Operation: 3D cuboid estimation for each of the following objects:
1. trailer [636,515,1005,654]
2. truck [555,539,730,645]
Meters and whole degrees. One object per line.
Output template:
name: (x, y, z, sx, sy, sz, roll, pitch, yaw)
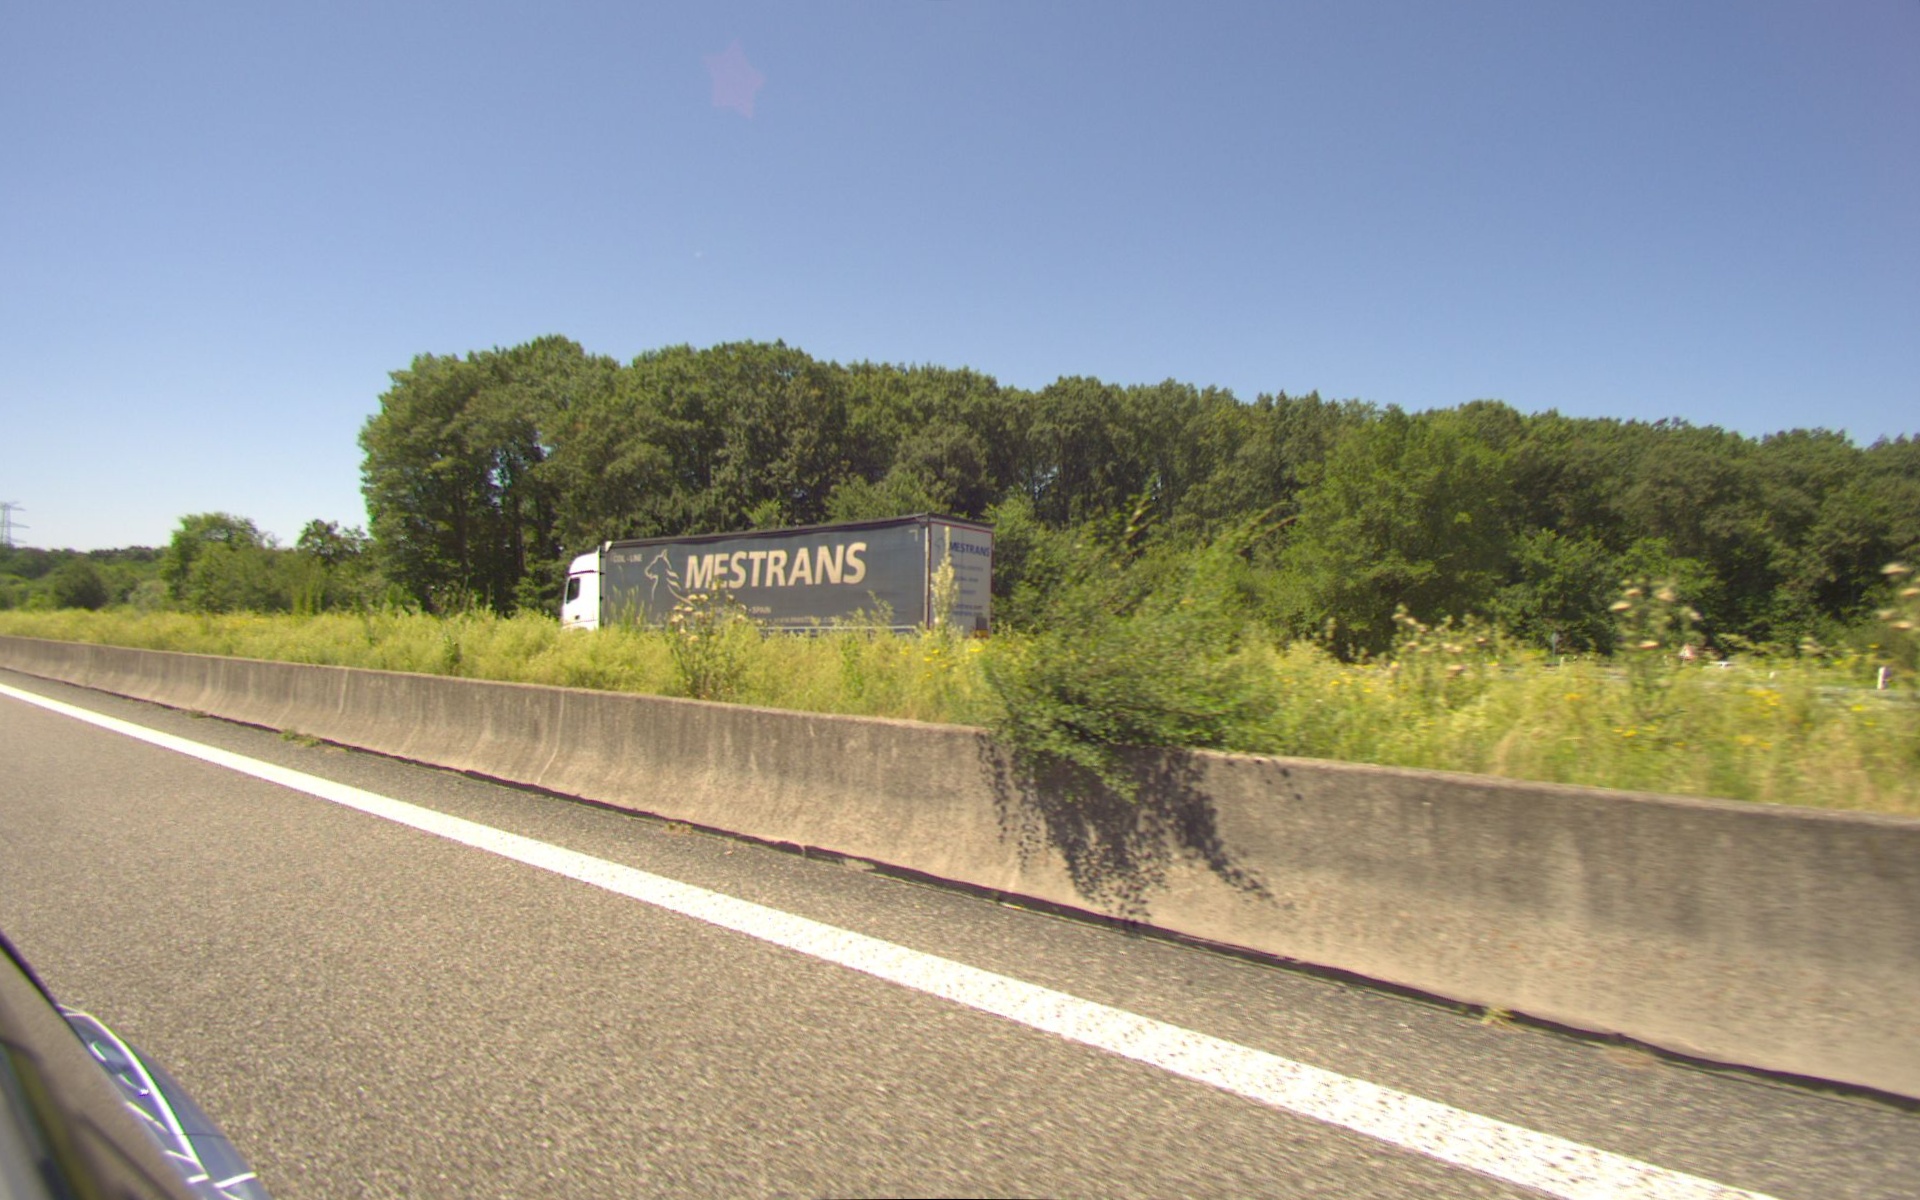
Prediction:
trailer: (-4.312, -0.290, 27.546, 11.943, 3.125, 2.575, -1, 0, 40)
truck: (-10.299, -0.217, 32.590, 5.843, 3.107, 2.616, -1, 0, 40)
